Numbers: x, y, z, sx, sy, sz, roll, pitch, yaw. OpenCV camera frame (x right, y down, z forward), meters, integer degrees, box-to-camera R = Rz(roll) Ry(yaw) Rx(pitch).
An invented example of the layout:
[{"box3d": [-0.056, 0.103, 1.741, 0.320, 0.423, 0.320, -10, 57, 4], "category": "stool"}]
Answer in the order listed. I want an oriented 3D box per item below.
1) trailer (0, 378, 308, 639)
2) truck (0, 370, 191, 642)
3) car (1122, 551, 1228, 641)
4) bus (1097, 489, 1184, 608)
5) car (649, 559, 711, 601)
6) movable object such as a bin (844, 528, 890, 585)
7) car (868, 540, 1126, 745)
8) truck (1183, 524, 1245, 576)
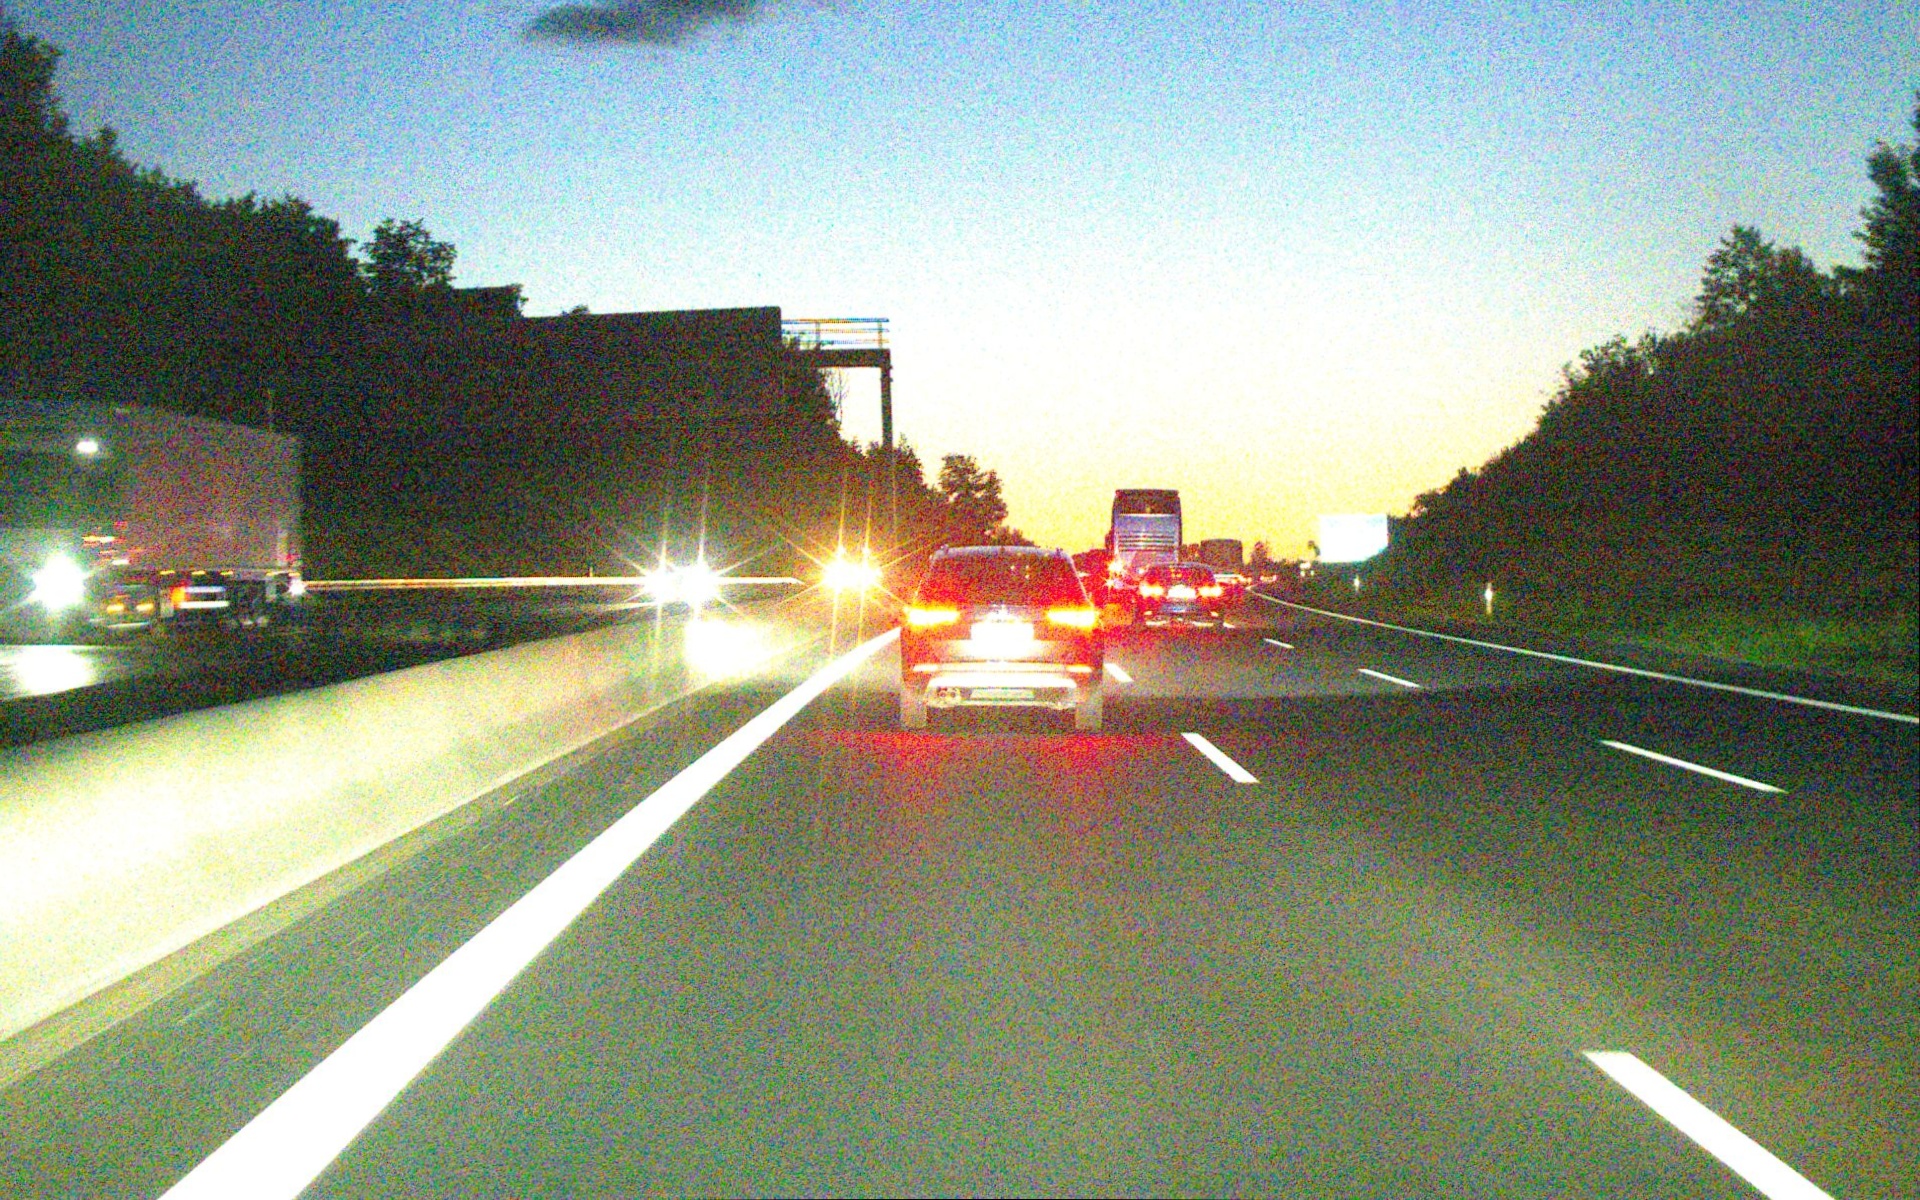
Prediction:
[{"box3d": [-15.421, -1.640, 65.917, 2.852, 4.418, 13.980, 1, 1, 1], "category": "trailer"}, {"box3d": [-15.540, -1.581, 59.437, 2.852, 4.418, 6.396, 1, 0, 1], "category": "truck"}, {"box3d": [4.478, -0.058, 72.000, 1.911, 1.724, 4.000, 3, -1, 1], "category": "car"}, {"box3d": [6.844, -1.801, 128.548, 2.652, 3.980, 14.698, -2, -1, 5], "category": "bus"}, {"box3d": [-9.909, -0.719, 121.824, 1.813, 1.448, 4.134, 1, 1, 0], "category": "car"}, {"box3d": [-5.707, -2.684, 212.364, 2.208, 3.405, 7.436, 0, 1, 3], "category": "movable object such as a bin"}, {"box3d": [0.251, 0.320, 30.795, 2.105, 1.612, 4.205, 2, 1, -2], "category": "car"}, {"box3d": [15.262, -3.024, 207.186, 2.546, 3.005, 9.054, 1, 1, -3], "category": "truck"}]
